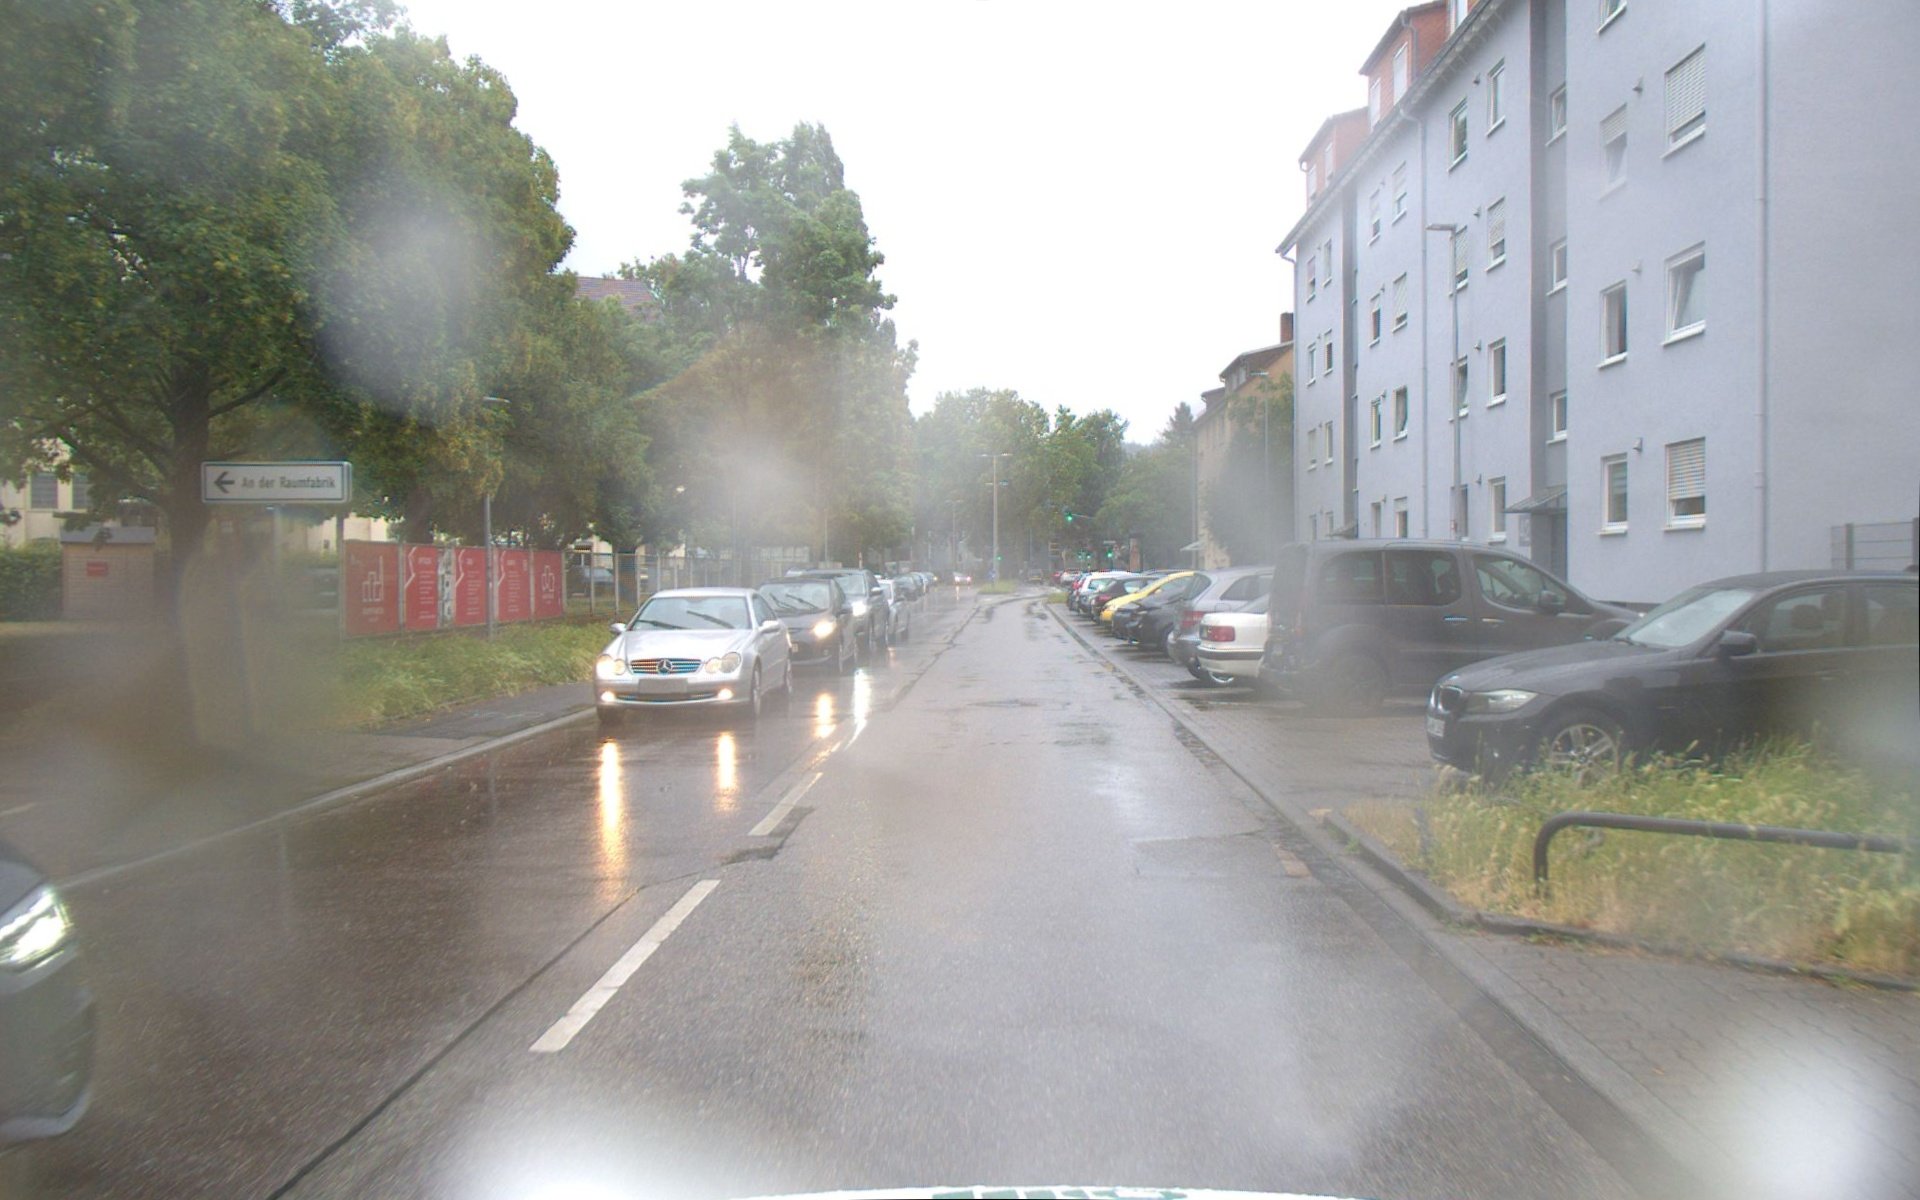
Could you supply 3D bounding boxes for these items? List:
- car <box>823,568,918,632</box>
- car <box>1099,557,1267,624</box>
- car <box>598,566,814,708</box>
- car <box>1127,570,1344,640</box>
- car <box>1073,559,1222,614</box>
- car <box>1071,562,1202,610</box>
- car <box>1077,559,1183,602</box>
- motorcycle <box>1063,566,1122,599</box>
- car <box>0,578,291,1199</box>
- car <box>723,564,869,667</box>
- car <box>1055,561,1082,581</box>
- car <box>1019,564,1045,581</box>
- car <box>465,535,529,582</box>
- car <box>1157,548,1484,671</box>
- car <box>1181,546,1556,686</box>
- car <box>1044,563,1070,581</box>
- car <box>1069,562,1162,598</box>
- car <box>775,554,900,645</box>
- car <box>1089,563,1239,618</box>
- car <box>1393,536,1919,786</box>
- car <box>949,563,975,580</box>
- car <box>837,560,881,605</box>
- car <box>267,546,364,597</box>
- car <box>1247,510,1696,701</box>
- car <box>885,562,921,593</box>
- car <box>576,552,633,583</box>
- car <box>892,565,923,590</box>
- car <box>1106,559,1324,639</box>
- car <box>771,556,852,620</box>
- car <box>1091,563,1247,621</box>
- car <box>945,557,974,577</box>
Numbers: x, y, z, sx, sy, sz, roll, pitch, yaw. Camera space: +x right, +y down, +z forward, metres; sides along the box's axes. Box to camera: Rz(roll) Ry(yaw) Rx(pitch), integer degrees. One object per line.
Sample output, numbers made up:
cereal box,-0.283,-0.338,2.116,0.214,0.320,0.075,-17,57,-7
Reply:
car,-2.061,-0.033,39.121,1.637,1.407,4.255,0,1,5
car,5.459,-0.249,40.852,3.905,1.579,1.853,0,1,0
car,-2.770,0.337,19.077,1.738,1.428,4.830,0,1,0
car,5.000,0.078,30.428,3.773,1.228,1.957,0,1,3
car,5.530,-0.402,49.208,4.251,1.579,2.040,0,1,1
car,5.791,-0.482,54.167,4.178,1.479,1.986,0,2,7
car,6.565,-0.757,64.032,3.905,1.579,1.905,0,1,0
motorcycle,5.482,-0.736,68.523,2.350,1.347,0.919,0,1,-3
car,-4.276,0.707,4.686,4.826,1.479,2.080,0,2,34
car,-2.505,0.179,26.241,1.742,1.445,4.267,-1,2,2
car,8.577,-2.280,130.986,1.812,1.551,4.000,0,1,0
car,6.888,-2.651,158.834,1.814,1.551,3.994,-1,1,-7
car,-21.745,-1.923,77.548,1.973,2.159,3.960,0,1,-30
car,4.870,0.112,22.768,4.095,1.599,1.890,0,1,0
car,4.873,0.169,20.154,4.104,1.595,1.889,-1,1,0
car,8.490,-2.453,145.039,1.812,1.551,4.152,-1,1,-2
car,6.674,-0.864,71.370,3.904,1.487,1.935,0,1,2
car,-2.360,-0.041,33.084,1.874,1.668,4.824,0,1,3
car,5.636,-0.279,46.067,4.012,1.483,2.001,0,1,3
car,5.384,0.353,11.139,4.439,1.496,1.984,-1,1,1
car,0.205,-2.821,164.589,1.710,1.718,3.986,0,1,-14
car,-3.809,-0.660,62.253,1.593,1.626,4.198,0,1,-4
car,-21.027,-0.899,53.914,1.979,1.584,3.947,-1,0,-37
car,5.323,0.037,17.588,4.146,1.836,1.944,-1,1,-2
car,-3.165,-1.251,90.593,1.741,1.556,3.997,0,3,-5
car,-17.245,-1.564,80.141,1.686,1.459,3.614,0,1,-29
car,-3.321,-1.433,105.407,1.890,1.510,3.999,-1,1,-2
car,5.015,-0.039,32.969,4.058,1.512,2.013,0,1,1
car,-4.258,-0.402,47.975,1.739,1.709,4.602,2,2,2
car,5.443,-0.223,43.464,3.904,1.467,1.782,0,1,1
car,-0.089,-3.491,172.594,1.962,2.048,3.981,-1,1,-17
